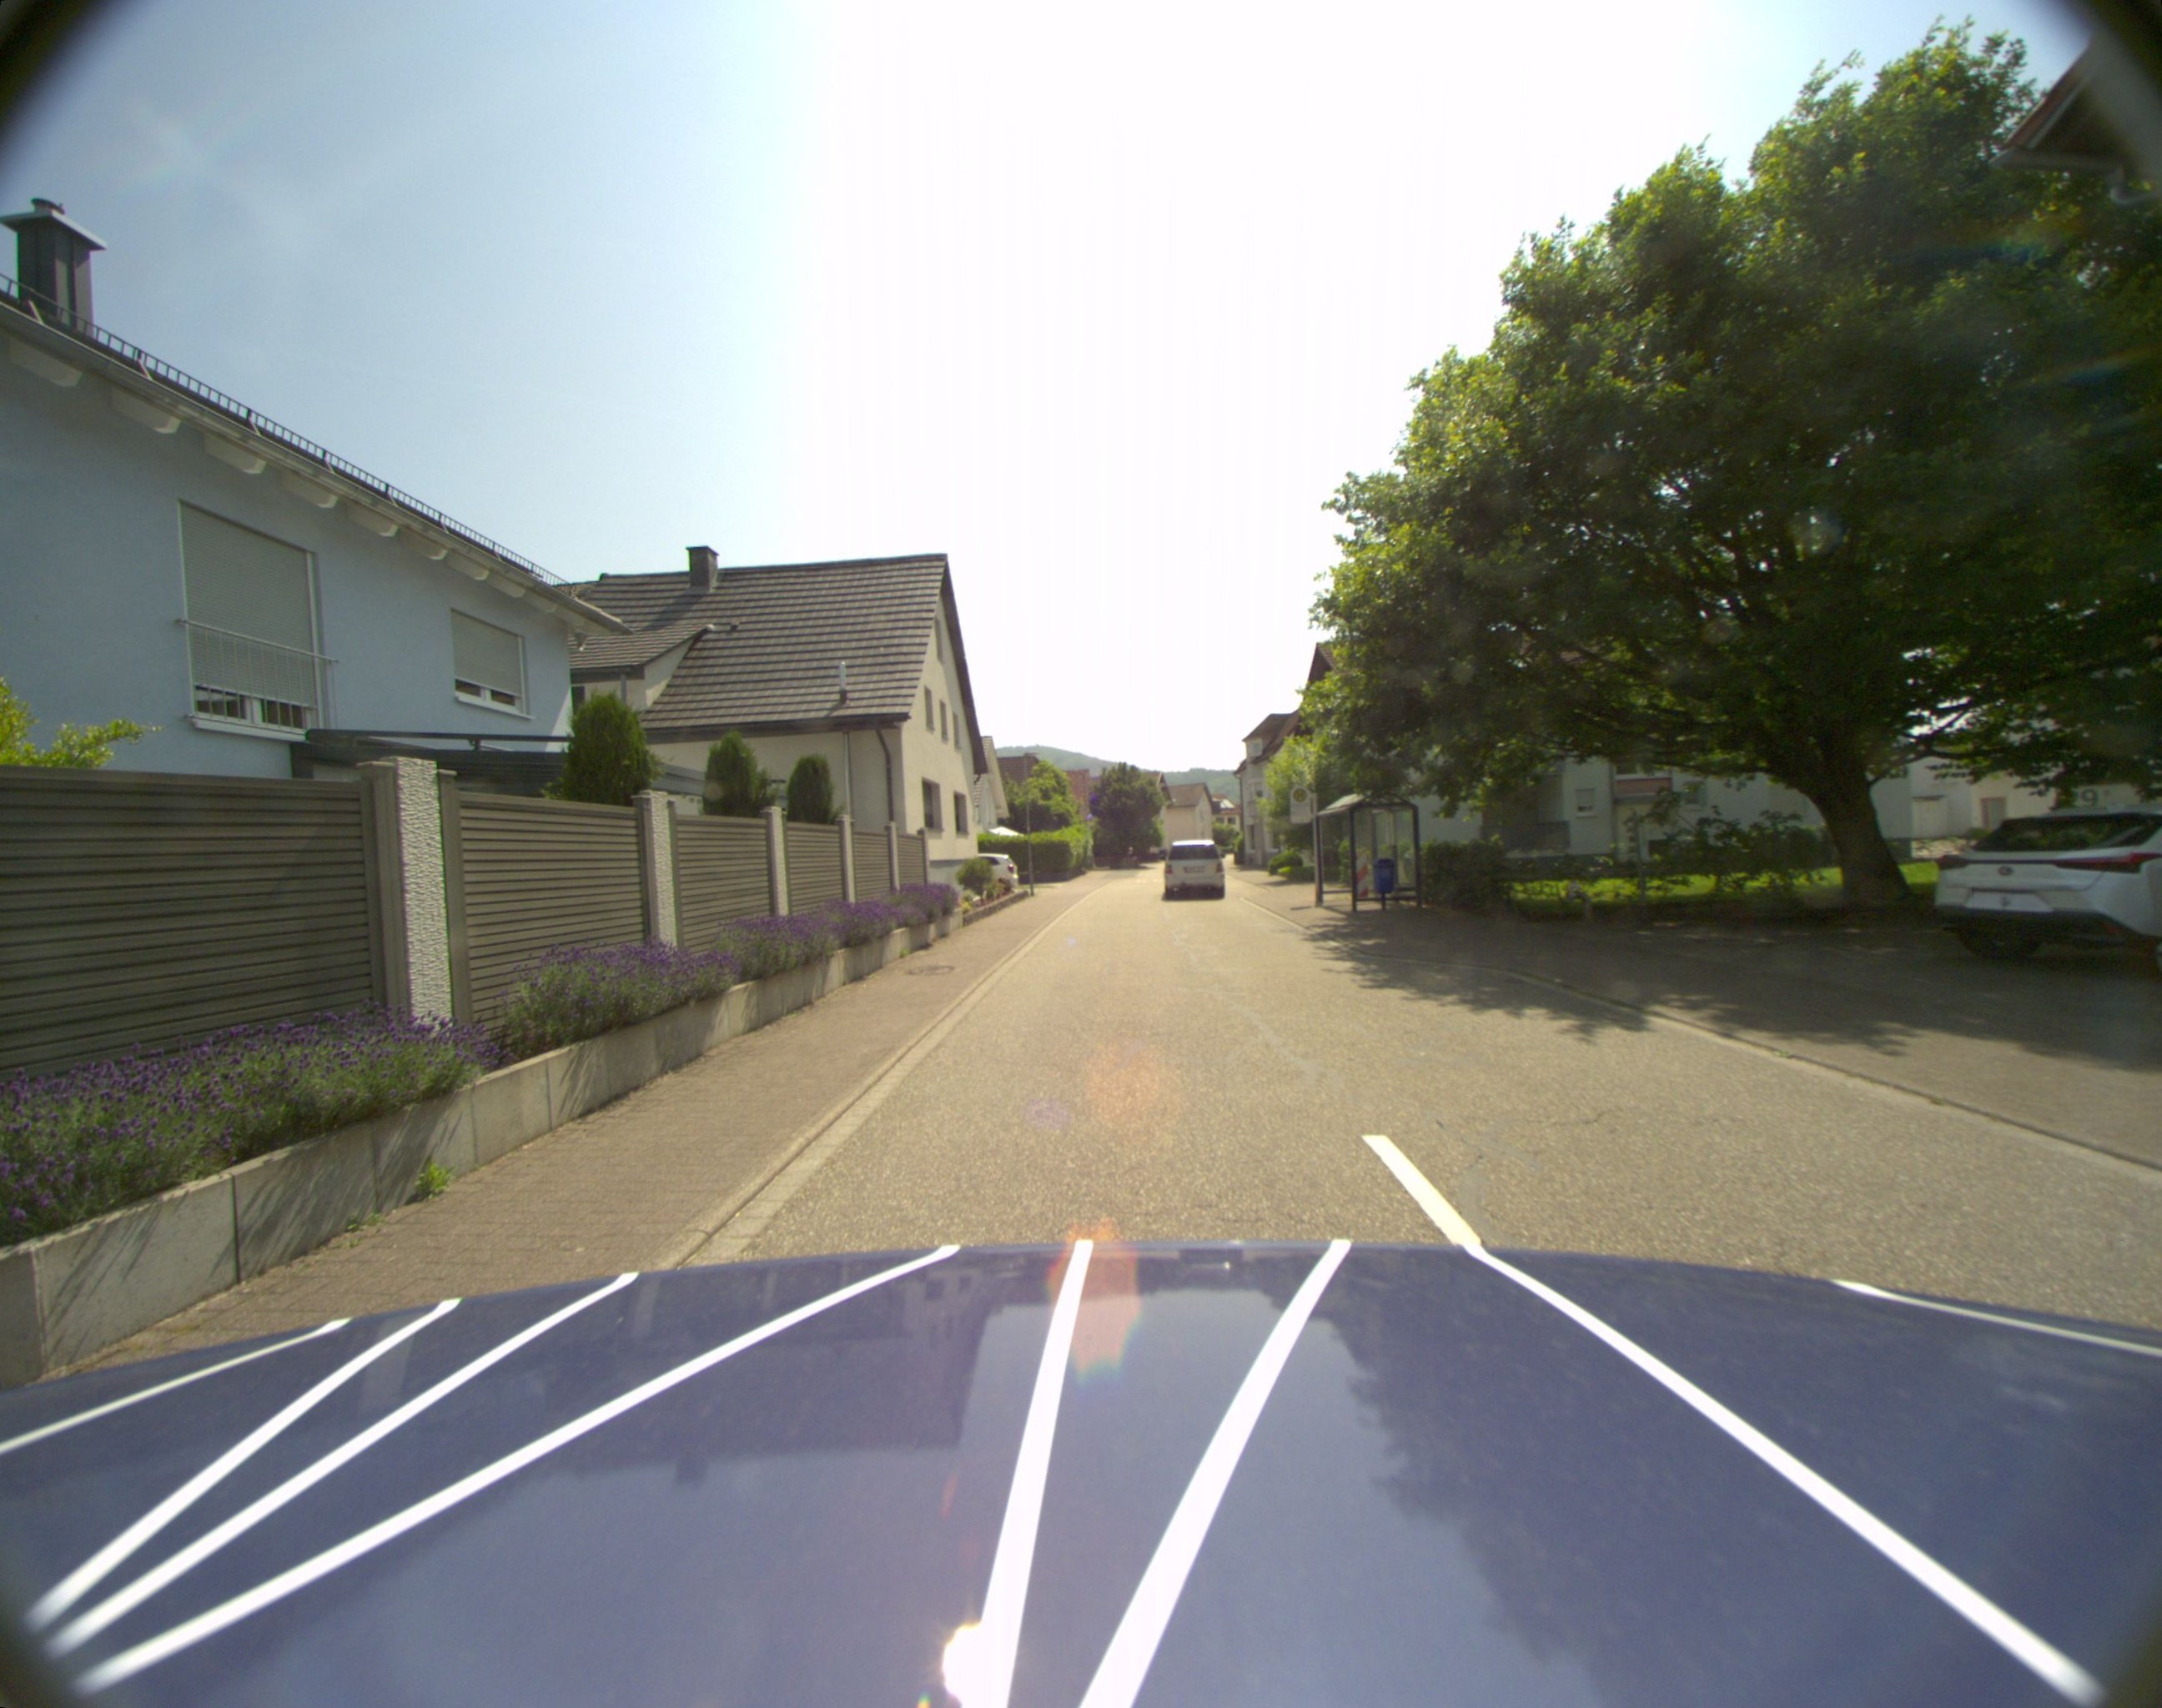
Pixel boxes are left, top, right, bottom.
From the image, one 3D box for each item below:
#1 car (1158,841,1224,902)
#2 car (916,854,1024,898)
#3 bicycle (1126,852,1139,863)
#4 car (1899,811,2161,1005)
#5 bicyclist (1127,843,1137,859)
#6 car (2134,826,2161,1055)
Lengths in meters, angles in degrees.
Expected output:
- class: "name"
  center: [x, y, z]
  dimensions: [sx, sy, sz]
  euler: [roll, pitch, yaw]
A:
- class: "car"
  center: [3.473, 0.481, 24.472]
  dimensions: [1.889, 1.757, 4.332]
  euler: [-2, 1, 7]
- class: "car"
  center: [-3.987, 0.786, 27.694]
  dimensions: [3.666, 1.466, 1.765]
  euler: [-2, 0, -1]
- class: "bicycle"
  center: [4.755, 0.326, 70.619]
  dimensions: [0.520, 0.899, 1.315]
  euler: [-2, 1, 37]
- class: "car"
  center: [10.435, 0.376, 6.824]
  dimensions: [4.170, 1.530, 1.774]
  euler: [-1, 0, 2]
- class: "bicyclist"
  center: [4.749, -0.304, 70.641]
  dimensions: [0.546, 1.481, 0.798]
  euler: [-2, 2, 37]
- class: "car"
  center: [7.576, 0.492, 2.785]
  dimensions: [1.783, 1.426, 4.055]
  euler: [-3, 0, 0]
